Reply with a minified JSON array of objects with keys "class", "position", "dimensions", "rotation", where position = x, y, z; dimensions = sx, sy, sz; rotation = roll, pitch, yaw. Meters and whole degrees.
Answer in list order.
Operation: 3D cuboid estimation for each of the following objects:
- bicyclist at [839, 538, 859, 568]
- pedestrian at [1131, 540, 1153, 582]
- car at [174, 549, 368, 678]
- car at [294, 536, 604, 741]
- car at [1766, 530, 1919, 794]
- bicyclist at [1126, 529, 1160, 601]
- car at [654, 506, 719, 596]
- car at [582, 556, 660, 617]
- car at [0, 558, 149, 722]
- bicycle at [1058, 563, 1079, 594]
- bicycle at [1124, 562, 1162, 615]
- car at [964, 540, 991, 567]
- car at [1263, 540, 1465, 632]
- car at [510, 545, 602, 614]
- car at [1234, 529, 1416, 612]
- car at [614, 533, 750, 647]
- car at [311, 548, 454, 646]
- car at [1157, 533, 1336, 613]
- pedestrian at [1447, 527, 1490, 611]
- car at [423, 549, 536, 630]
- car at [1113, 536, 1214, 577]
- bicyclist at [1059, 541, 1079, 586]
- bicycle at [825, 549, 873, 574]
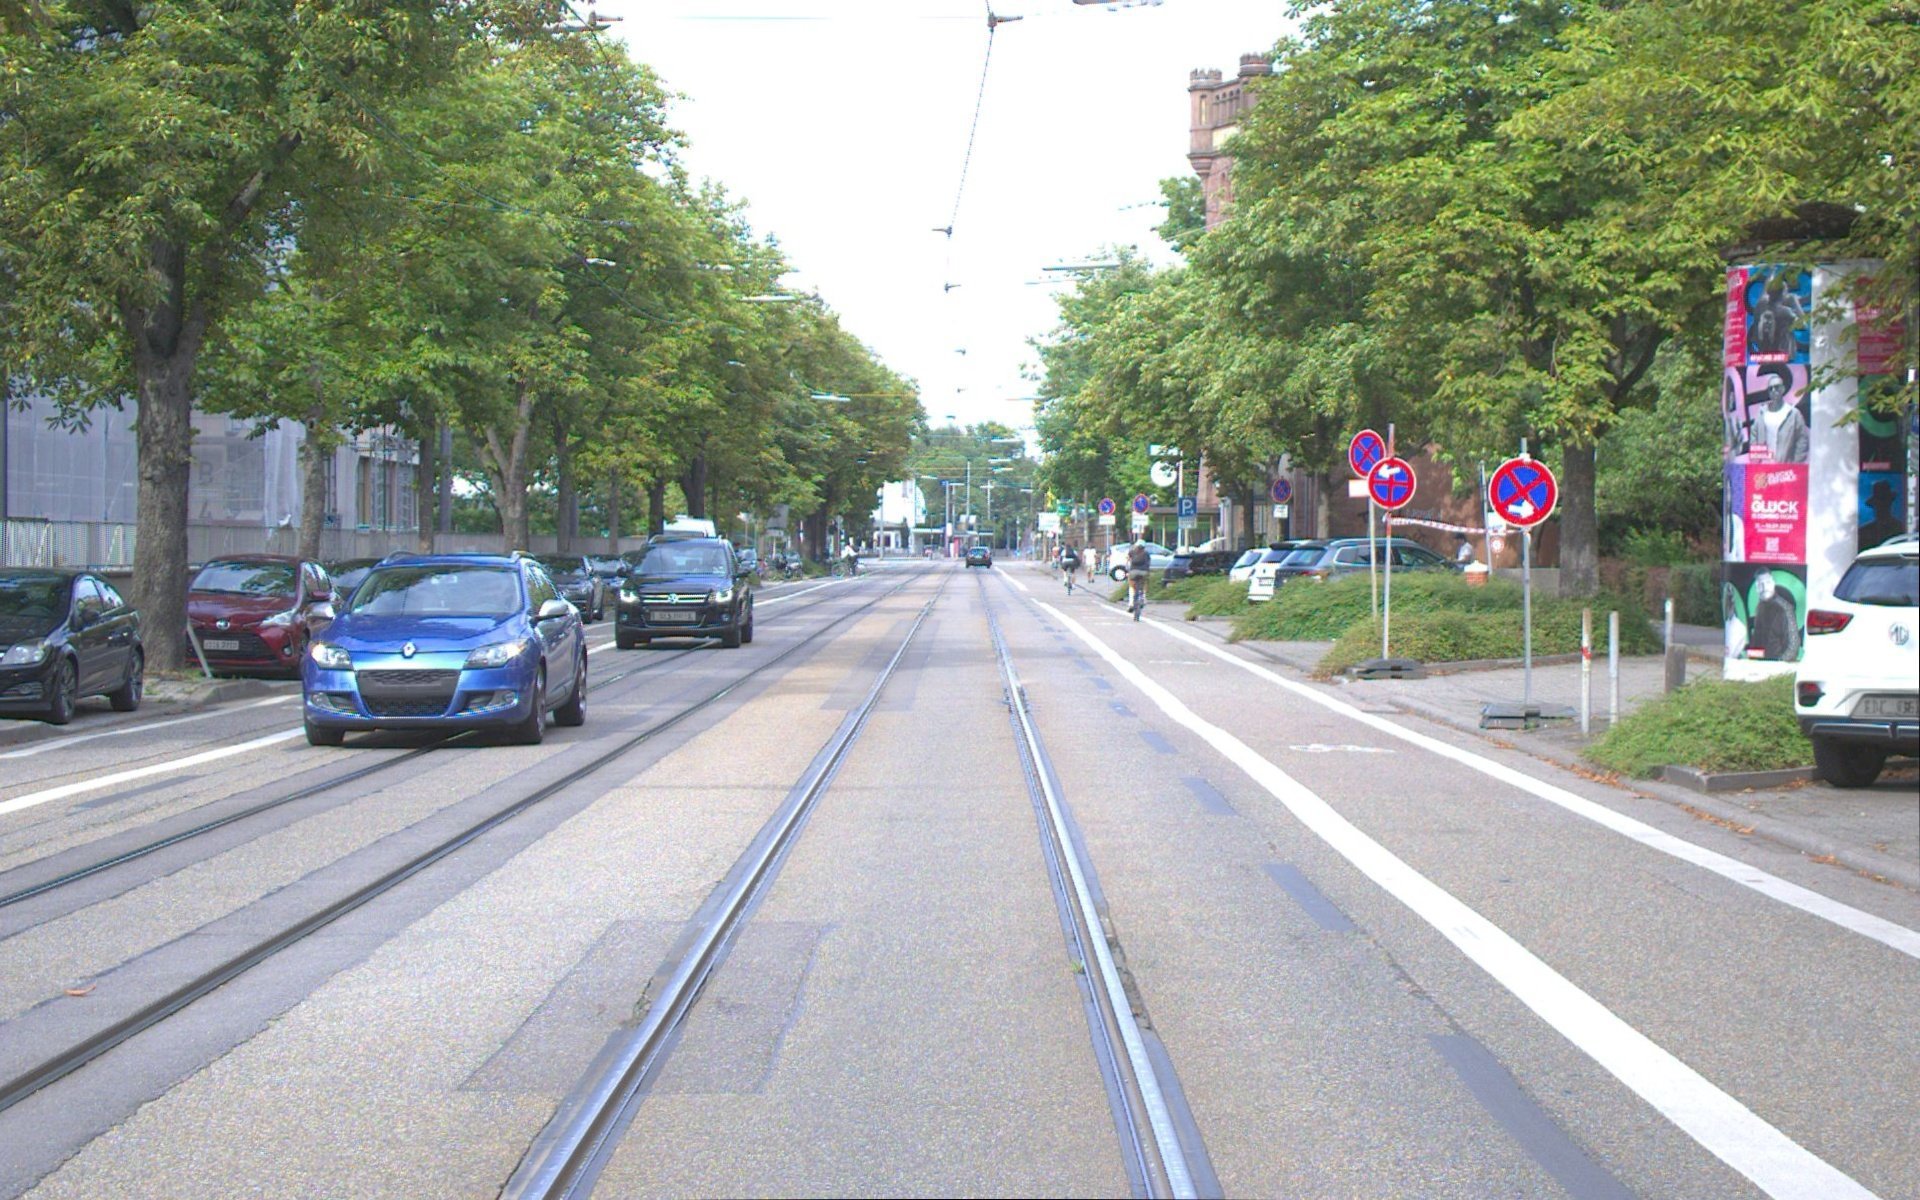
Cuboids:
[{"class":"bicyclist","position":[-5.477,-2.317,169.846],"dimensions":[0.847,1.499,0.768],"rotation":[1,1,8]},{"class":"pedestrian","position":[7.641,-1.635,144.144],"dimensions":[0.748,1.783,0.730],"rotation":[1,0,15]},{"class":"car","position":[-8.498,0.131,42.671],"dimensions":[1.635,1.491,3.963],"rotation":[1,1,-1]},{"class":"car","position":[-3.993,0.241,27.518],"dimensions":[1.732,1.491,4.378],"rotation":[0,1,1]},{"class":"car","position":[6.944,0.371,22.289],"dimensions":[1.681,1.597,3.637],"rotation":[1,1,45]},{"class":"bicyclist","position":[3.734,-0.712,70.210],"dimensions":[0.592,1.454,0.875],"rotation":[1,1,-2]},{"class":"car","position":[-8.430,-1.523,106.237],"dimensions":[1.720,2.695,5.471],"rotation":[1,1,-2]},{"class":"car","position":[-8.133,-0.347,82.701],"dimensions":[1.590,1.398,3.963],"rotation":[1,1,-2]},{"class":"car","position":[-8.763,0.324,32.013],"dimensions":[1.590,1.398,3.963],"rotation":[1,1,-2]},{"class":"bicycle","position":[3.659,-0.729,115.675],"dimensions":[0.663,1.040,1.841],"rotation":[1,1,1]},{"class":"bicycle","position":[3.725,-0.250,70.216],"dimensions":[0.592,1.040,1.978],"rotation":[1,1,-2]},{"class":"car","position":[1.209,-3.248,240.996],"dimensions":[1.795,1.817,4.679],"rotation":[1,1,-1]},{"class":"car","position":[7.223,-0.252,61.330],"dimensions":[1.681,1.597,3.637],"rotation":[1,1,45]},{"class":"car","position":[-8.492,-0.450,72.479],"dimensions":[1.590,1.398,3.963],"rotation":[1,1,-2]},{"class":"car","position":[7.255,-0.574,68.126],"dimensions":[1.681,1.597,3.637],"rotation":[1,1,45]},{"class":"car","position":[-4.169,-0.189,52.077],"dimensions":[1.732,1.623,4.378],"rotation":[-1,1,-1]},{"class":"car","position":[-8.674,-0.076,51.870],"dimensions":[1.590,1.398,3.963],"rotation":[1,1,-2]},{"class":"car","position":[5.873,-0.557,70.249],"dimensions":[1.681,1.597,3.637],"rotation":[1,1,45]},{"class":"pedestrian","position":[11.089,-0.682,75.008],"dimensions":[0.786,1.820,0.661],"rotation":[1,1,20]},{"class":"car","position":[-8.659,-0.210,62.182],"dimensions":[1.590,1.398,3.963],"rotation":[1,1,-2]},{"class":"car","position":[8.542,-1.836,144.486],"dimensions":[3.986,1.687,2.000],"rotation":[1,1,-5]},{"class":"bicyclist","position":[3.669,-1.233,115.671],"dimensions":[0.659,1.491,0.929],"rotation":[1,1,1]},{"class":"bicycle","position":[-5.499,-1.891,169.858],"dimensions":[2.275,1.185,0.768],"rotation":[1,1,8]}]
